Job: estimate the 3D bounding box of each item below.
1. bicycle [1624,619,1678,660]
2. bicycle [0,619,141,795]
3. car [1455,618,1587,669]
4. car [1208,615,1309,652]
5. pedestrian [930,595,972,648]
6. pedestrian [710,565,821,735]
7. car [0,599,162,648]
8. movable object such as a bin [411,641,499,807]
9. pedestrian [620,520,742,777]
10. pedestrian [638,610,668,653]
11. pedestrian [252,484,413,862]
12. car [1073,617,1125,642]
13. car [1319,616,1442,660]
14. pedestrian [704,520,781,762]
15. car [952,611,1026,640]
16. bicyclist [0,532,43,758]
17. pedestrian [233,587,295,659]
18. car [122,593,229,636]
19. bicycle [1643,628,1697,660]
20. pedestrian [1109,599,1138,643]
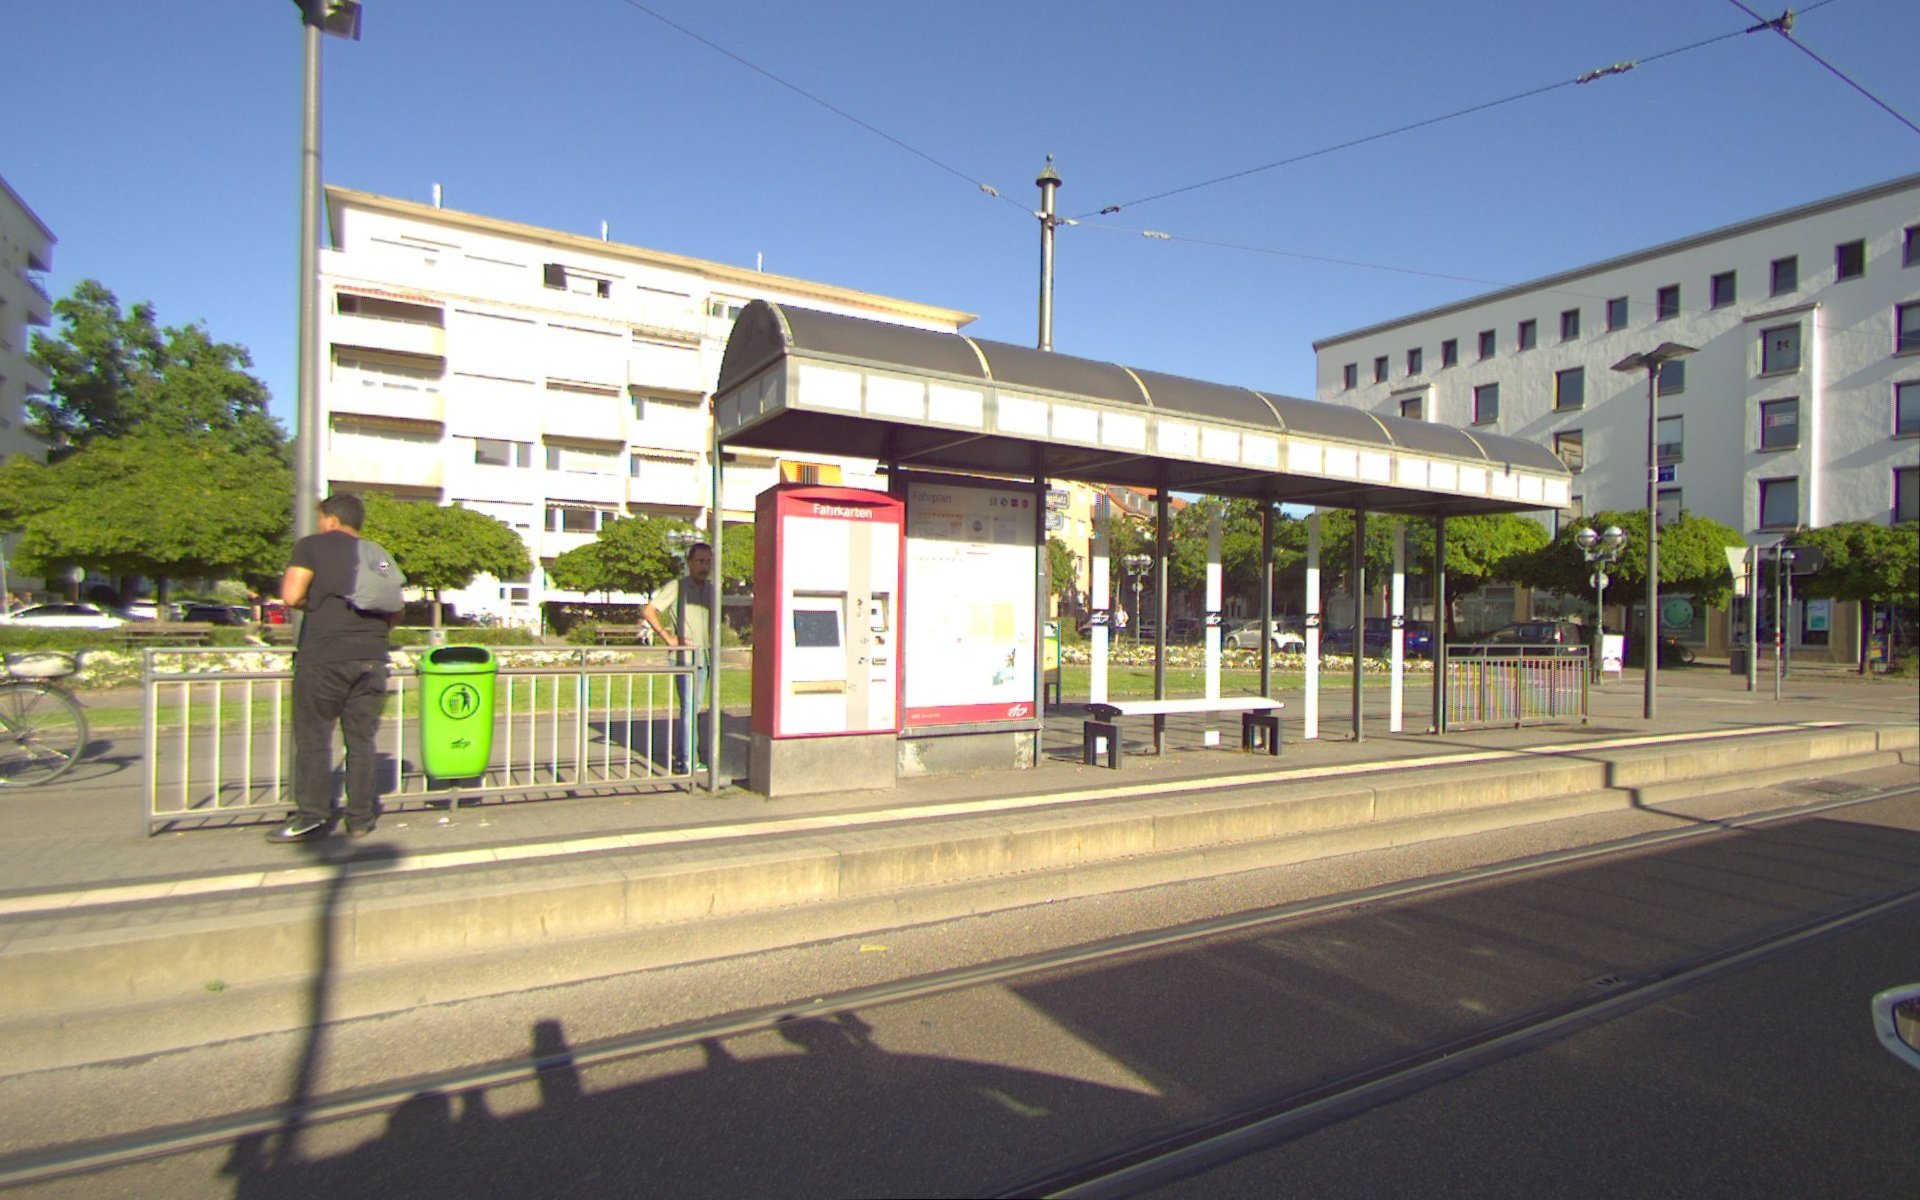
[{"bbox_3d":[27.871,1.597,40.500,2.585,1.628,0.616,1,-1,-26],"label":"bicycle"},{"bbox_3d":[-6.779,0.695,6.677,1.954,1.128,0.724,2,0,-31],"label":"bicycle"},{"bbox_3d":[21.053,1.594,37.837,1.804,1.728,3.968,1,-1,-30],"label":"car"},{"bbox_3d":[14.193,1.554,47.983,1.835,1.628,4.581,1,-1,-31],"label":"car"},{"bbox_3d":[-0.365,0.844,39.635,1.219,2.040,1.214,1,-1,-30],"label":"pedestrian"},{"bbox_3d":[-2.017,0.519,10.560,0.976,1.702,0.974,0,-1,0],"label":"pedestrian"},{"bbox_3d":[-25.592,0.678,29.010,3.672,1.318,1.984,1,-1,-30],"label":"car"},{"bbox_3d":[-2.792,0.666,5.561,0.411,0.871,0.335,1,-1,-27],"label":"movable object such as a bin"},{"bbox_3d":[-2.087,0.358,7.492,0.760,1.797,0.613,1,-3,-28],"label":"pedestrian"},{"bbox_3d":[-10.272,1.048,33.595,0.673,1.378,1.042,1,-1,-34],"label":"pedestrian"},{"bbox_3d":[-3.107,0.350,5.025,0.599,1.740,0.546,1,-3,-28],"label":"pedestrian"},{"bbox_3d":[9.306,1.960,67.101,1.887,1.514,4.343,2,0,31],"label":"car"},{"bbox_3d":[17.852,1.577,42.826,1.978,1.684,4.581,1,-1,-31],"label":"car"},{"bbox_3d":[-1.762,0.332,8.132,0.519,1.883,0.426,1,-3,-27],"label":"pedestrian"},{"bbox_3d":[1.453,1.273,49.453,3.271,1.372,1.638,1,-1,-29],"label":"car"},{"bbox_3d":[-6.802,0.279,6.657,0.867,1.475,0.824,2,0,-29],"label":"bicyclist"},{"bbox_3d":[-18.000,0.602,26.013,1.162,1.811,1.074,1,0,-27],"label":"pedestrian"},{"bbox_3d":[-28.935,0.550,37.144,2.899,1.506,1.407,1,-1,-30],"label":"car"},{"bbox_3d":[28.196,1.751,39.856,2.586,1.206,0.615,1,-1,-27],"label":"bicycle"},{"bbox_3d":[6.909,0.875,42.517,0.856,1.841,0.944,1,0,-19],"label":"pedestrian"}]
